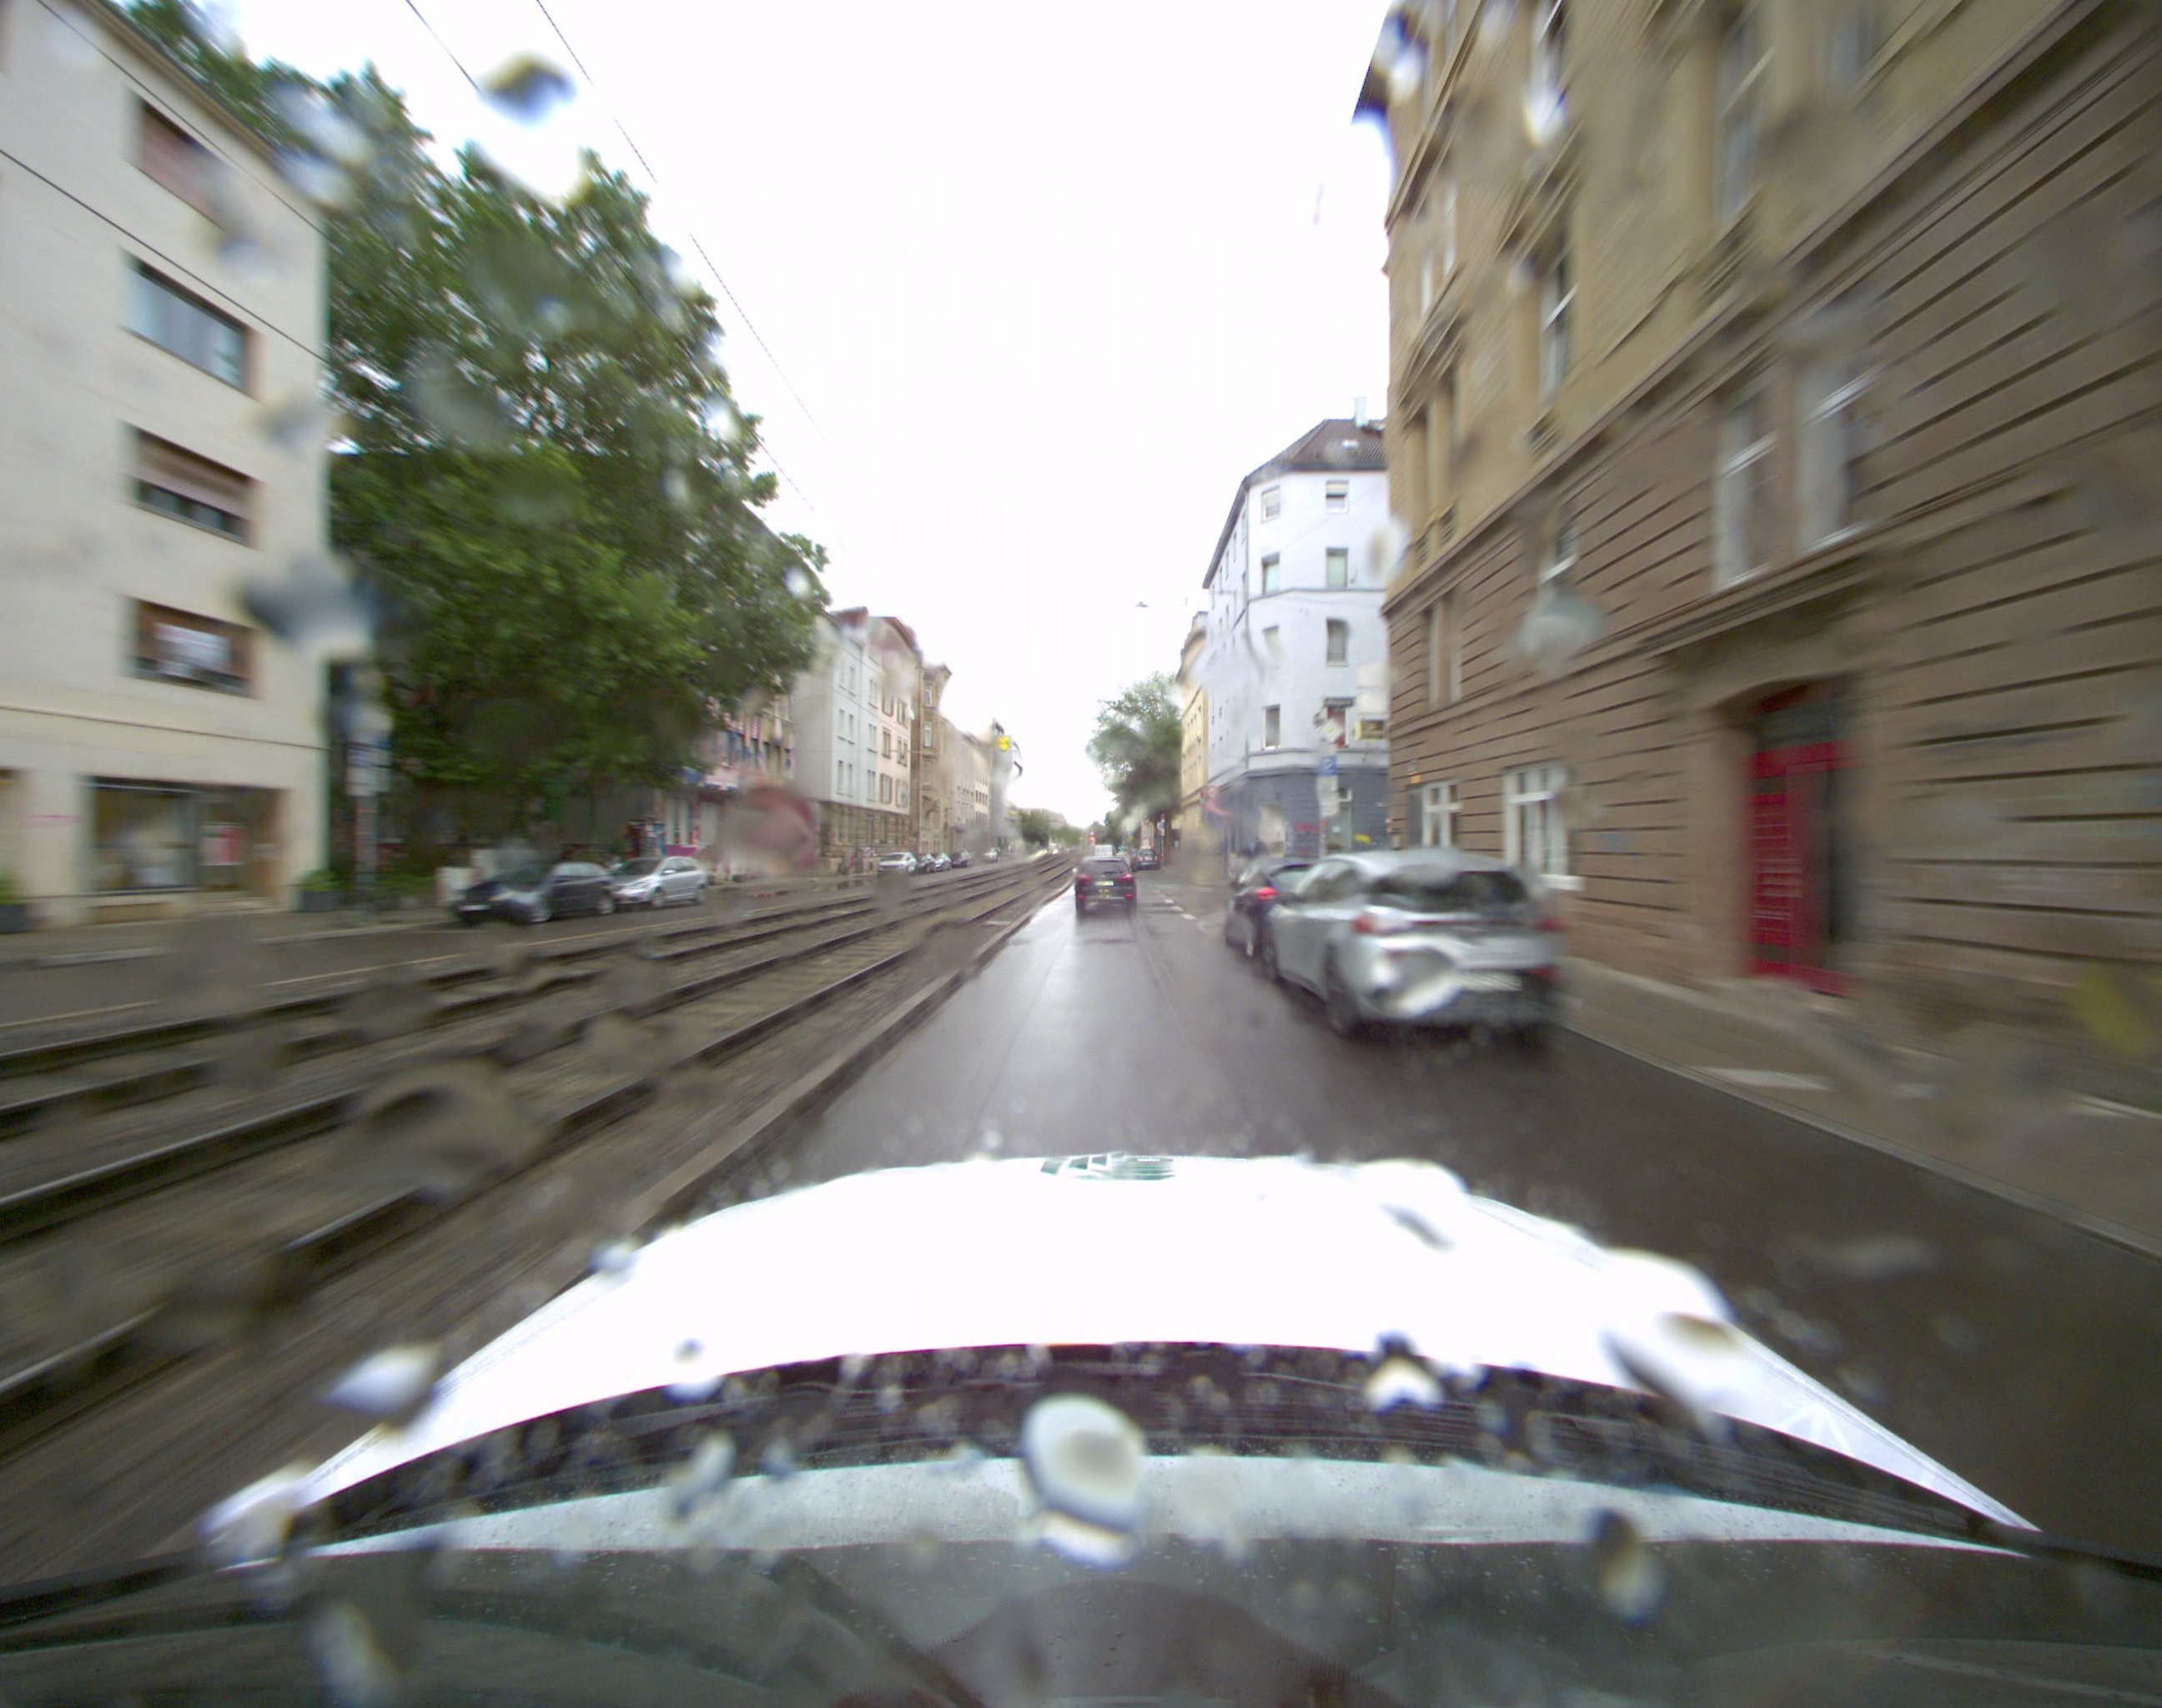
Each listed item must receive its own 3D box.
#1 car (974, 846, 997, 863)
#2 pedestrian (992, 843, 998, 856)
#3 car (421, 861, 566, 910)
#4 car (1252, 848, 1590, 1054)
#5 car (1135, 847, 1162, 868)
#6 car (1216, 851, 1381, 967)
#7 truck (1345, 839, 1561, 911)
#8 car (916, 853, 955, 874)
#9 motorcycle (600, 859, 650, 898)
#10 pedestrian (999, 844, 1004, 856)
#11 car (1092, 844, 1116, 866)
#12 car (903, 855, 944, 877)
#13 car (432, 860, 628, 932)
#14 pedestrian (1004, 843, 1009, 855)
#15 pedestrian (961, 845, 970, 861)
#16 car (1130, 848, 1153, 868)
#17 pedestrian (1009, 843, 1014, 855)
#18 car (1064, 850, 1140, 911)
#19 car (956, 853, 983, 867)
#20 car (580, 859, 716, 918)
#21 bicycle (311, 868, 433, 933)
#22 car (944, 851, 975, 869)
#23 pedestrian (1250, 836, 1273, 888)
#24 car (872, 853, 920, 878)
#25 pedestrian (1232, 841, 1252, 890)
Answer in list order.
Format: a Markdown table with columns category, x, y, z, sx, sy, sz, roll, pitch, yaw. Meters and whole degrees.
| category | x | y | z | sx | sy | sz | roll | pitch | yaw |
| --- | --- | --- | --- | --- | --- | --- | --- | --- | --- |
| car | -10.716 | 0.012 | 91.788 | 1.987 | 1.839 | 5.070 | 0 | 0 | 0 |
| pedestrian | -12.934 | -0.680 | 122.211 | 0.741 | 1.853 | 0.839 | -1 | -1 | 1 |
| car | -19.964 | 1.006 | 27.904 | 1.986 | 1.454 | 4.001 | -1 | 1 | 1 |
| car | 3.022 | 0.717 | 8.328 | 1.740 | 1.523 | 4.356 | 0 | 1 | 1 |
| car | 4.937 | 0.246 | 60.075 | 1.732 | 1.489 | 4.001 | 0 | 1 | 1 |
| car | 3.272 | 0.733 | 13.080 | 1.713 | 1.516 | 4.262 | 0 | 1 | 3 |
| truck | 10.171 | 0.548 | 22.552 | 5.044 | 1.818 | 2.083 | -1 | 0 | -2 |
| car | -11.294 | 0.728 | 63.642 | 1.986 | 1.519 | 4.994 | 0 | 0 | 2 |
| motorcycle | -17.028 | 0.895 | 30.473 | 0.637 | 1.379 | 2.119 | 0 | 0 | 0 |
| pedestrian | -11.928 | -0.632 | 122.332 | 0.741 | 1.853 | 0.839 | -1 | -1 | 1 |
| car | 2.042 | 0.080 | 70.802 | 1.986 | 1.816 | 4.273 | -1 | -1 | 2 |
| car | -11.338 | 0.811 | 58.944 | 1.986 | 1.519 | 4.210 | 0 | 0 | 2 |
| car | -13.060 | 0.915 | 19.670 | 1.737 | 1.469 | 4.221 | -1 | 0 | 2 |
| pedestrian | -11.805 | -0.749 | 128.615 | 0.741 | 1.853 | 0.839 | -1 | -1 | 1 |
| pedestrian | -12.917 | -0.092 | 90.843 | 0.799 | 1.750 | 0.984 | 0 | 0 | 1 |
| car | 4.784 | 0.317 | 64.761 | 1.637 | 1.516 | 4.040 | 0 | 1 | 1 |
| pedestrian | -10.956 | -0.754 | 128.233 | 0.741 | 1.853 | 0.839 | -1 | -1 | 1 |
| car | 0.635 | 0.718 | 23.703 | 1.986 | 1.594 | 4.273 | -1 | -1 | 2 |
| car | -11.041 | 0.557 | 80.764 | 1.986 | 1.376 | 4.240 | 0 | 0 | 2 |
| car | -12.832 | 0.956 | 24.473 | 1.715 | 1.570 | 4.221 | 0 | 0 | 2 |
| bicycle | -14.582 | 0.909 | 16.864 | 0.590 | 1.226 | 2.399 | 0 | 0 | -5 |
| car | -11.018 | 0.523 | 74.098 | 1.986 | 1.519 | 4.678 | 0 | 0 | 2 |
| pedestrian | 7.020 | 0.302 | 31.776 | 0.733 | 2.013 | 0.821 | 0 | 1 | 1 |
| car | -11.863 | 0.712 | 52.544 | 1.986 | 1.519 | 4.437 | 0 | 0 | 2 |
| pedestrian | 6.208 | 0.438 | 31.426 | 0.659 | 1.852 | 0.821 | 0 | 1 | 1 |
